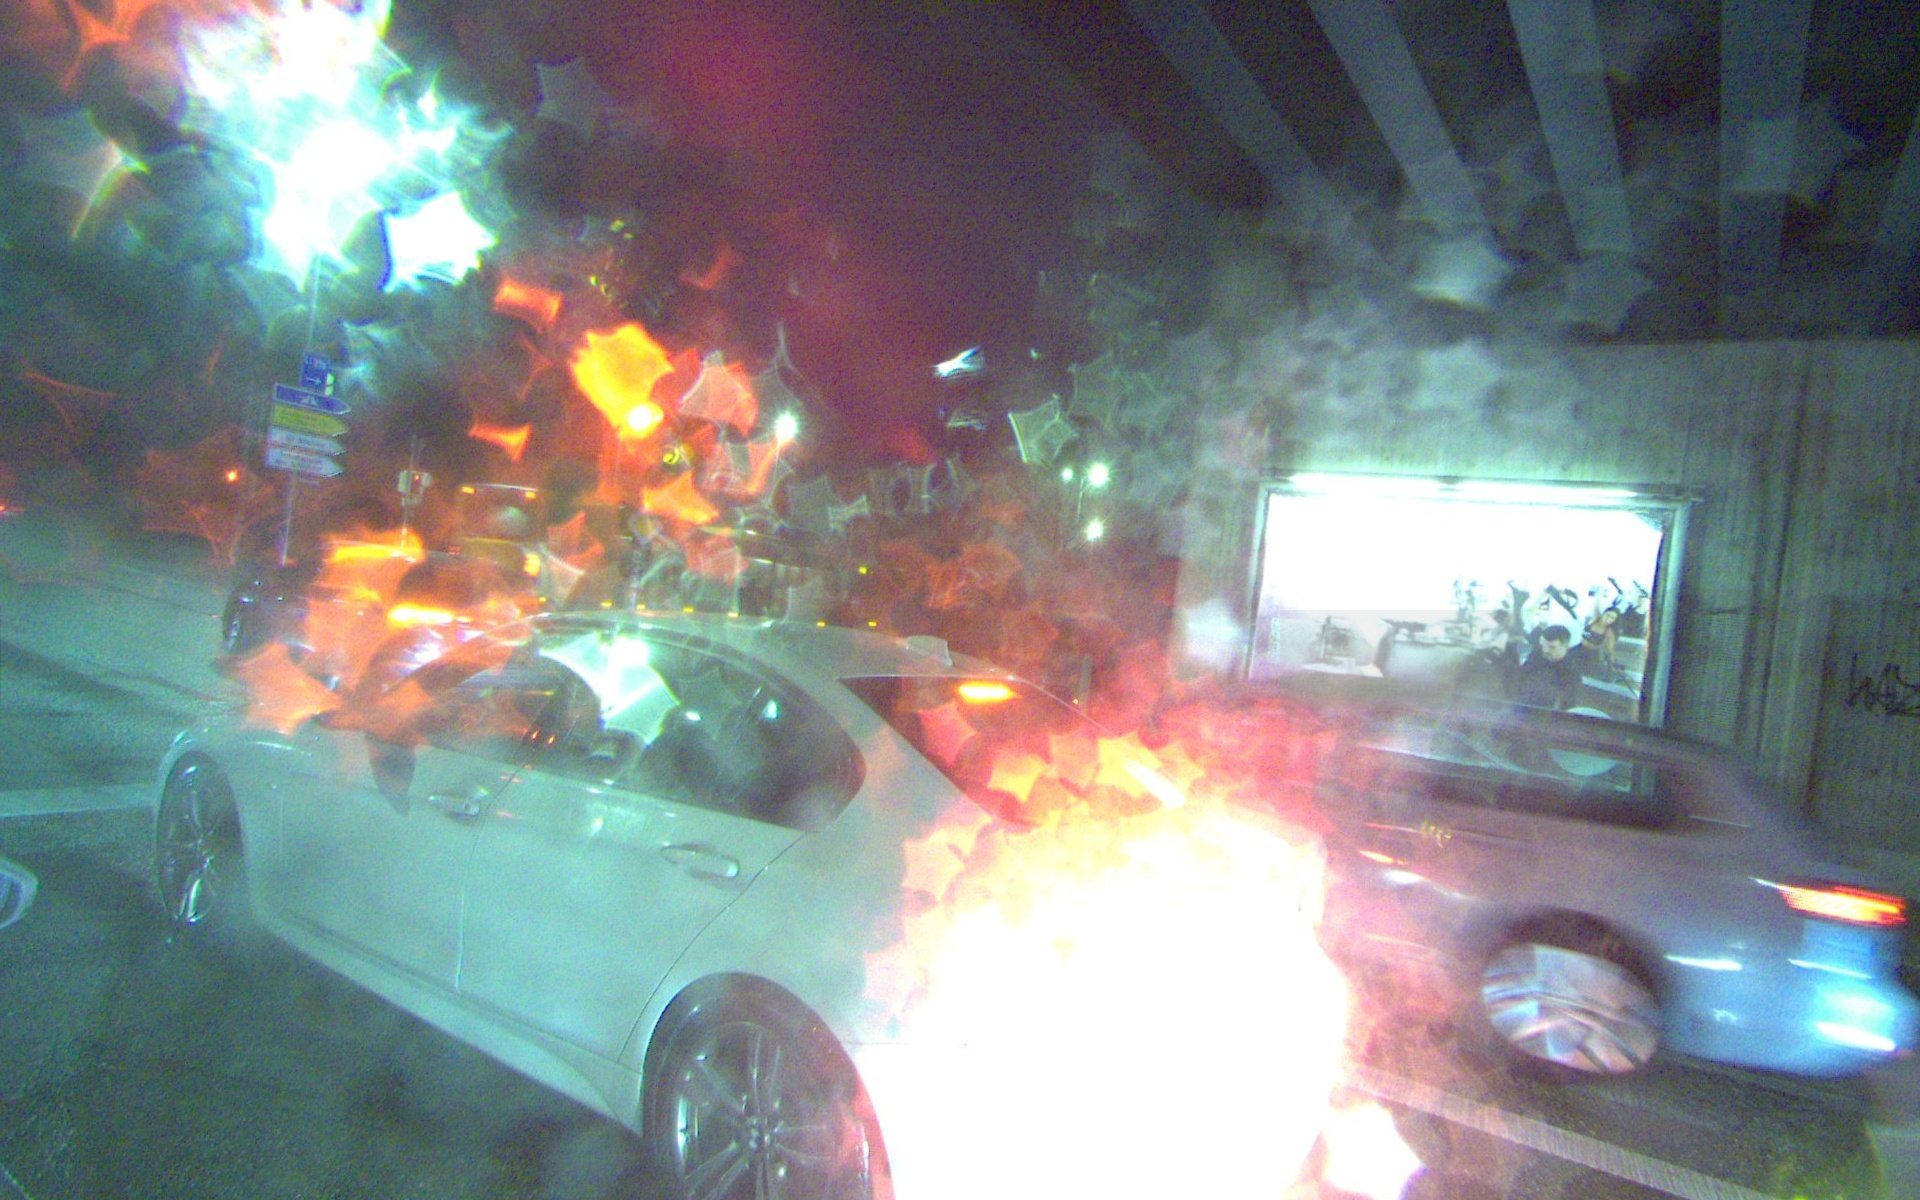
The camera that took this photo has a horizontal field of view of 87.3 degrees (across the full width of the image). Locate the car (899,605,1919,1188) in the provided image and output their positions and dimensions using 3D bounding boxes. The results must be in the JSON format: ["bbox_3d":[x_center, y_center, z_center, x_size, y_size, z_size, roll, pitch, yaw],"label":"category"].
[{"bbox_3d":[2.169,1.100,5.116,4.550,1.502,1.852,8,0,29],"label":"car"}]

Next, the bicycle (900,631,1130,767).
[{"bbox_3d":[0.543,0.998,10.465,2.171,1.070,0.798,6,-2,32],"label":"bicycle"}]

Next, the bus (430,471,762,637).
[{"bbox_3d":[-9.366,-0.927,27.797,2.726,3.159,9.769,7,-2,20],"label":"bus"}]

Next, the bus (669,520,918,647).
[{"bbox_3d":[-5.467,-0.378,35.595,2.732,3.159,9.750,7,-2,31],"label":"bus"}]

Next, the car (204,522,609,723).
[{"bbox_3d":[-5.869,0.174,10.443,4.558,1.495,1.839,6,-2,37],"label":"car"}]

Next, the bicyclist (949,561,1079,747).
[{"bbox_3d":[0.568,0.560,10.479,0.886,1.783,0.798,6,-1,31],"label":"bicyclist"}]

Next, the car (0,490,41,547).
[{"bbox_3d":[-28.810,-2.589,28.134,4.101,1.504,1.787,8,-2,-24],"label":"car"}]

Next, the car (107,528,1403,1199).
[{"bbox_3d":[-0.958,0.709,3.494,4.277,1.420,1.720,6,-2,32],"label":"car"}]
